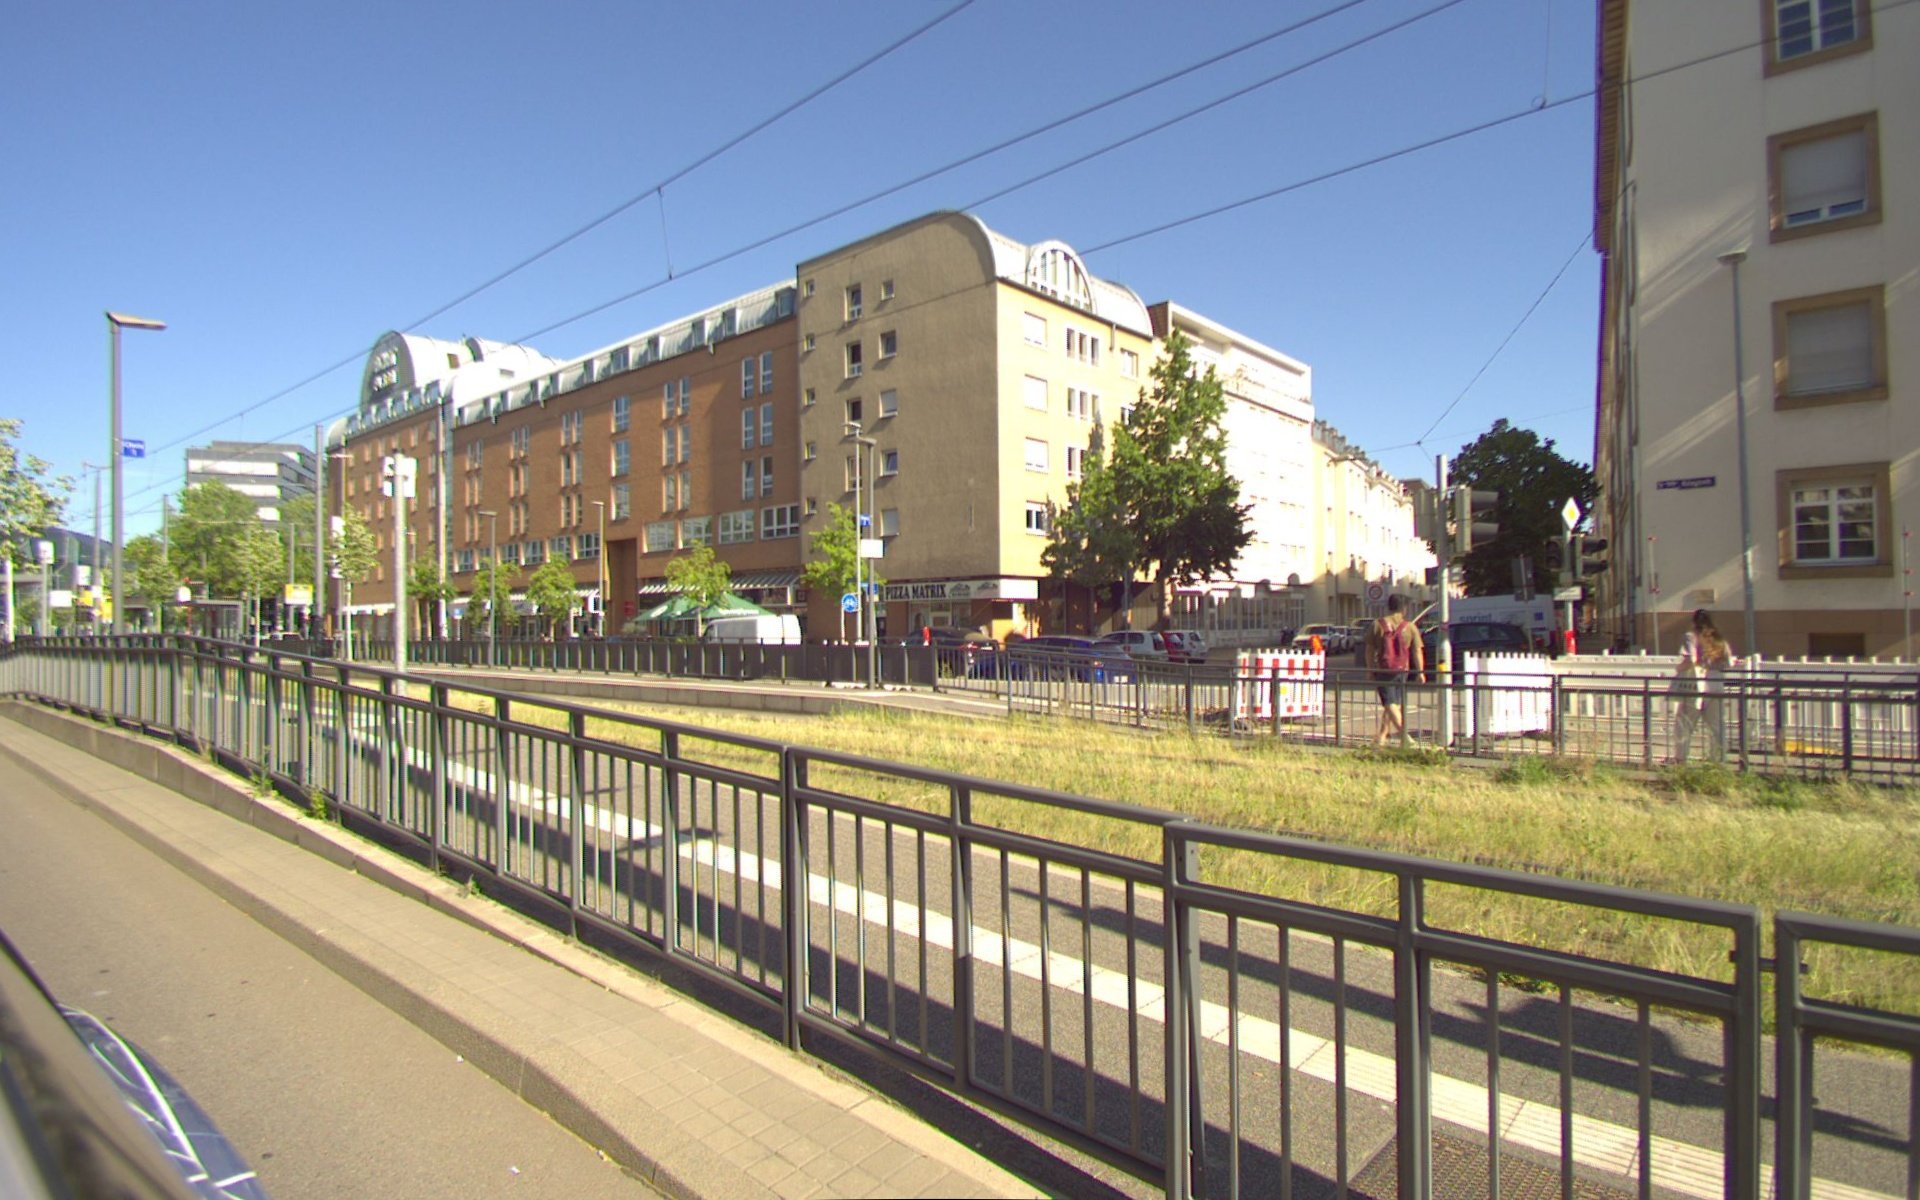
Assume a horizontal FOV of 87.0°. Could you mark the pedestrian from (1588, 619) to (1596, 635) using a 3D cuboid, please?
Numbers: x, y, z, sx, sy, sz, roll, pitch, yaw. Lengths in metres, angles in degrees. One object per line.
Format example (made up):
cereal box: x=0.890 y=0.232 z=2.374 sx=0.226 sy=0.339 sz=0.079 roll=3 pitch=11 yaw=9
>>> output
pedestrian: x=67.242 y=2.877 z=107.694 sx=0.687 sy=1.768 sz=0.807 roll=-2 pitch=-2 yaw=34

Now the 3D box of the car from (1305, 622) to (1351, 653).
car: x=20.720 y=2.065 z=56.896 sx=1.947 sy=1.674 sz=3.962 roll=-2 pitch=-2 yaw=28

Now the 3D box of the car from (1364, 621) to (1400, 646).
car: x=28.929 y=2.289 z=69.349 sx=1.947 sy=1.674 sz=3.962 roll=-2 pitch=-2 yaw=28

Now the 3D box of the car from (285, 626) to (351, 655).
car: x=-32.058 y=1.989 z=50.494 sx=3.958 sy=1.296 sz=1.677 roll=-1 pitch=0 yaw=41

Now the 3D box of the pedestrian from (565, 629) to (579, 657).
pedestrian: x=-26.141 y=2.908 z=68.137 sx=0.644 sy=1.854 sz=0.614 roll=-2 pitch=-3 yaw=39

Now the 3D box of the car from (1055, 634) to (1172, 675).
car: x=5.758 y=2.024 z=37.999 sx=3.980 sy=1.462 sz=1.768 roll=-2 pitch=-2 yaw=28

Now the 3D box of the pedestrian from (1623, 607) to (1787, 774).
pedestrian: x=7.297 y=0.855 z=9.956 sx=0.895 sy=1.548 sz=0.869 roll=-1 pitch=-1 yaw=-5

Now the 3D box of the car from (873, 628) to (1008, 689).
car: x=-0.639 y=1.765 z=31.277 sx=3.997 sy=1.773 sz=1.796 roll=-2 pitch=-2 yaw=40

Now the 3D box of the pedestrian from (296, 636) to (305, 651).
pedestrian: x=-72.796 y=4.792 z=111.688 sx=0.637 sy=1.622 sz=0.728 roll=1 pitch=-3 yaw=-45

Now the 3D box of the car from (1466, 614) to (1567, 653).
car: x=26.076 y=1.578 z=47.455 sx=3.990 sy=1.789 sz=1.722 roll=-2 pitch=-2 yaw=35

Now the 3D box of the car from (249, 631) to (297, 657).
car: x=-49.775 y=3.157 z=73.302 sx=3.998 sy=1.696 sz=1.973 roll=-1 pitch=0 yaw=41

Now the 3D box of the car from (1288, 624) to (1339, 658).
car: x=18.499 y=2.114 z=52.893 sx=1.947 sy=1.674 sz=3.962 roll=-2 pitch=-2 yaw=28

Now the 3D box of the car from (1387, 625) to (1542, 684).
car: x=13.871 y=1.469 z=27.890 sx=3.661 sy=1.533 sz=1.673 roll=-2 pitch=-2 yaw=32

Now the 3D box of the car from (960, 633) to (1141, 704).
car: x=1.891 y=1.439 z=21.686 sx=3.651 sy=1.387 sz=1.557 roll=-2 pitch=-5 yaw=41

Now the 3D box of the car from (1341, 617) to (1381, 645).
car: x=25.586 y=1.957 z=64.448 sx=1.947 sy=1.674 sz=3.962 roll=-2 pitch=-2 yaw=28

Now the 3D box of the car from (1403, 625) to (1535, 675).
car: x=16.434 y=1.592 z=32.731 sx=3.654 sy=1.533 sz=1.673 roll=-2 pitch=-2 yaw=32

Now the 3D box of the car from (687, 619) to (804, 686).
car: x=-8.454 y=1.993 z=39.447 sx=1.969 sy=2.388 sz=5.653 roll=0 pitch=-2 yaw=-41

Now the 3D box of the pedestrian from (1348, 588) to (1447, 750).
pedestrian: x=5.117 y=0.774 z=11.817 sx=0.906 sy=1.794 sz=0.858 roll=-2 pitch=-1 yaw=32

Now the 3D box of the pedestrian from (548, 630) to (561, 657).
pedestrian: x=-27.624 y=2.969 z=68.901 sx=0.644 sy=1.854 sz=0.614 roll=-2 pitch=-3 yaw=39

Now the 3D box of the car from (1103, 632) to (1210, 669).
car: x=8.088 y=2.062 z=41.702 sx=3.980 sy=1.462 sz=1.768 roll=-2 pitch=-2 yaw=28

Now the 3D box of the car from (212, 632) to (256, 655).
car: x=-57.619 y=3.447 z=80.344 sx=3.998 sy=1.696 sz=1.973 roll=-1 pitch=0 yaw=41

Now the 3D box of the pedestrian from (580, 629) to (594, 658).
pedestrian: x=-23.999 y=2.807 z=65.128 sx=0.644 sy=1.854 sz=0.614 roll=-2 pitch=-3 yaw=41

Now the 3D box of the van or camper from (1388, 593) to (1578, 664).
van or camper: x=18.840 y=1.054 z=36.686 sx=5.933 sy=2.419 sz=1.979 roll=-2 pitch=-2 yaw=30

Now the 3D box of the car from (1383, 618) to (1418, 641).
car: x=33.353 y=2.231 z=76.518 sx=1.949 sy=1.674 sz=3.958 roll=-2 pitch=-2 yaw=30

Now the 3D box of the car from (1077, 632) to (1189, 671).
car: x=6.786 y=2.001 z=39.716 sx=3.980 sy=1.462 sz=1.768 roll=-2 pitch=-2 yaw=28
